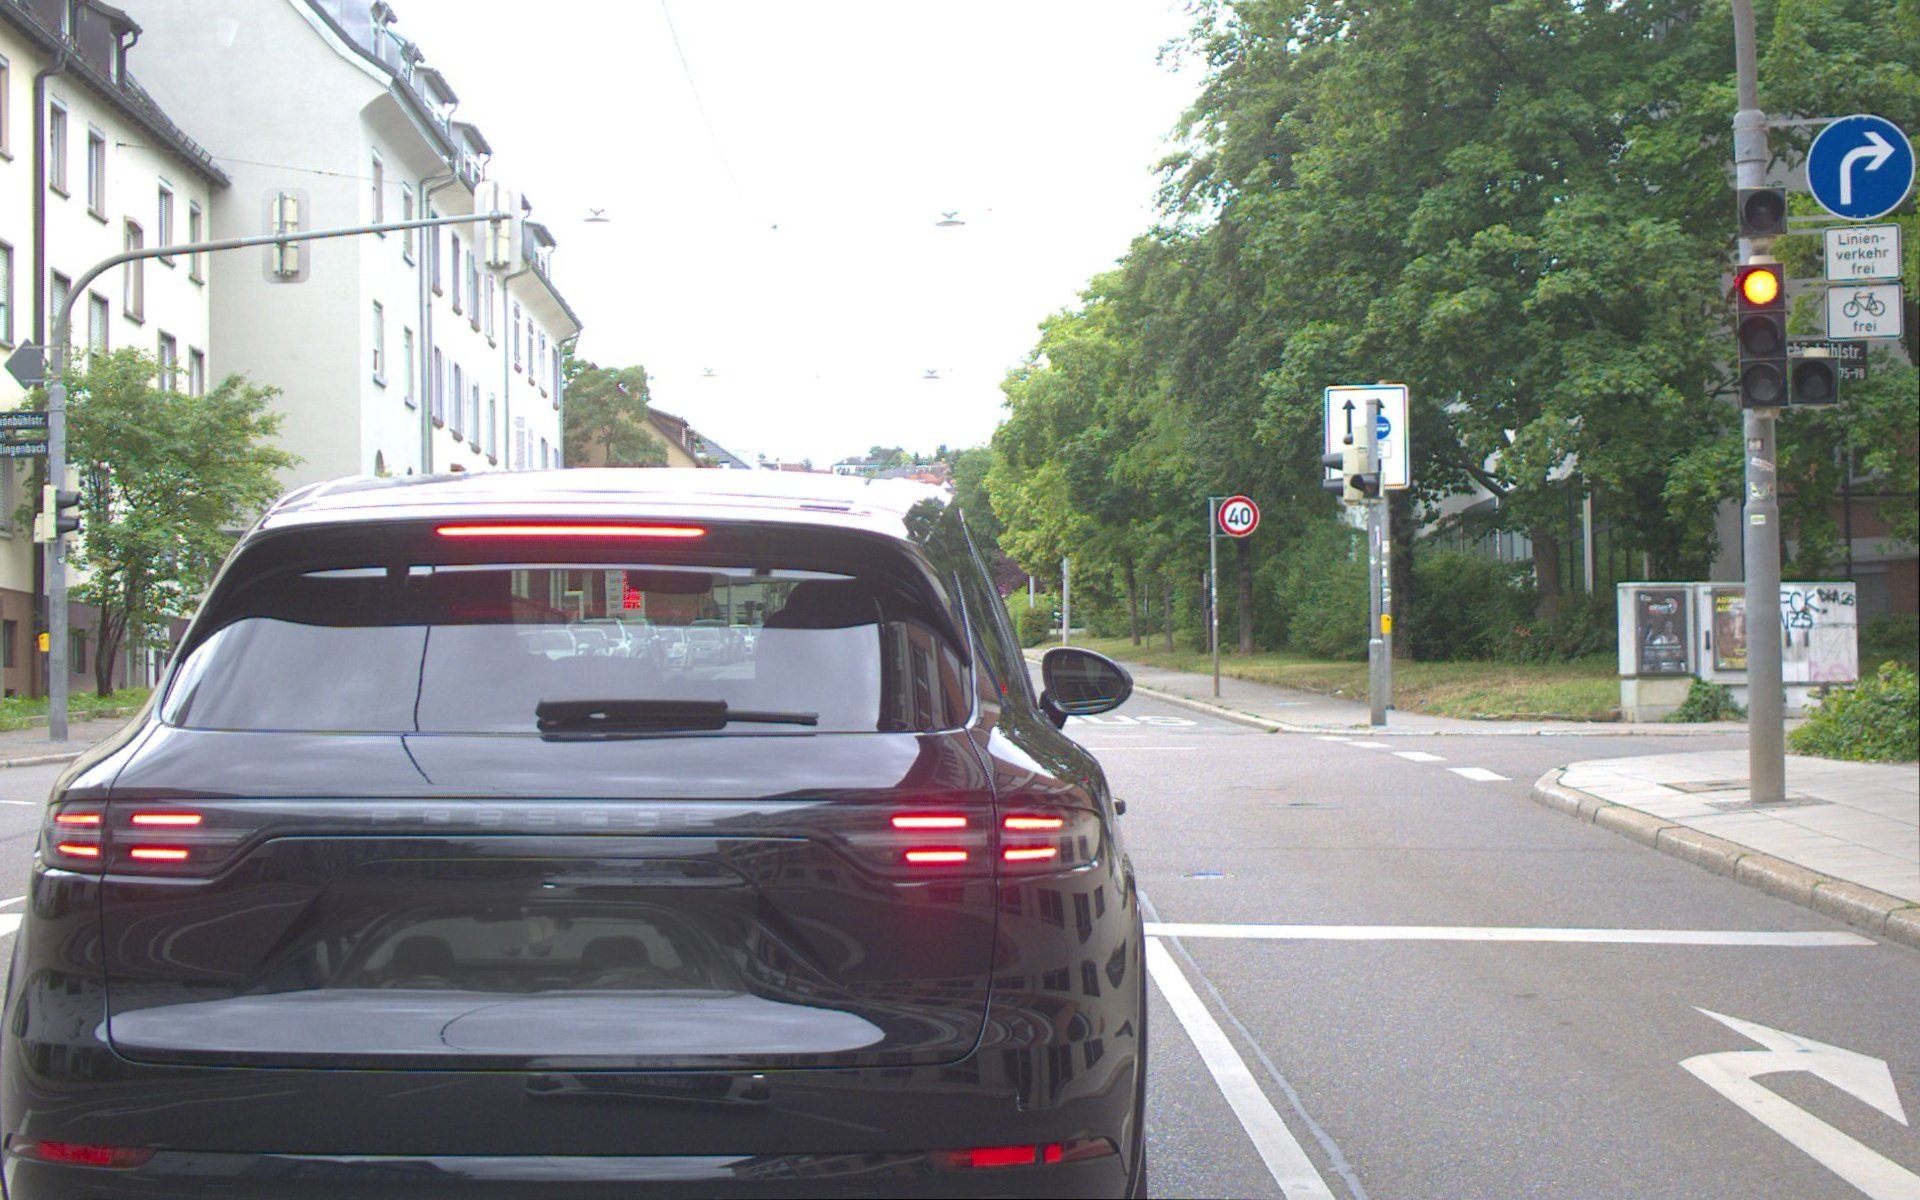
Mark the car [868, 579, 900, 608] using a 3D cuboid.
[{"bbox_3d":[-4.464,-0.394,202.945,1.827,1.599,4.135,1,1,0],"label":"car"}]

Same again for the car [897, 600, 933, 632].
[{"bbox_3d":[-2.370,0.848,182.485,1.827,1.599,4.135,1,1,0],"label":"car"}]

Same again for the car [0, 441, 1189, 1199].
[{"bbox_3d":[-0.709,0.568,7.249,2.048,1.660,4.267,1,1,0],"label":"car"}]

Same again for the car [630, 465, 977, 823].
[{"bbox_3d":[-0.915,0.219,21.897,1.965,2.035,4.135,1,1,0],"label":"car"}]

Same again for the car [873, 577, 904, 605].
[{"bbox_3d":[-4.365,-0.547,210.270,1.827,1.599,4.135,1,1,0],"label":"car"}]

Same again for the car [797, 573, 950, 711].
[{"bbox_3d":[-1.062,0.494,43.821,1.827,1.599,4.135,1,1,0],"label":"car"}]

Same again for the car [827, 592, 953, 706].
[{"bbox_3d":[-1.037,0.717,52.540,1.827,1.599,3.859,1,1,0],"label":"car"}]

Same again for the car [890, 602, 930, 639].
[{"bbox_3d":[-2.363,0.958,163.309,1.827,1.599,4.135,1,1,0],"label":"car"}]
